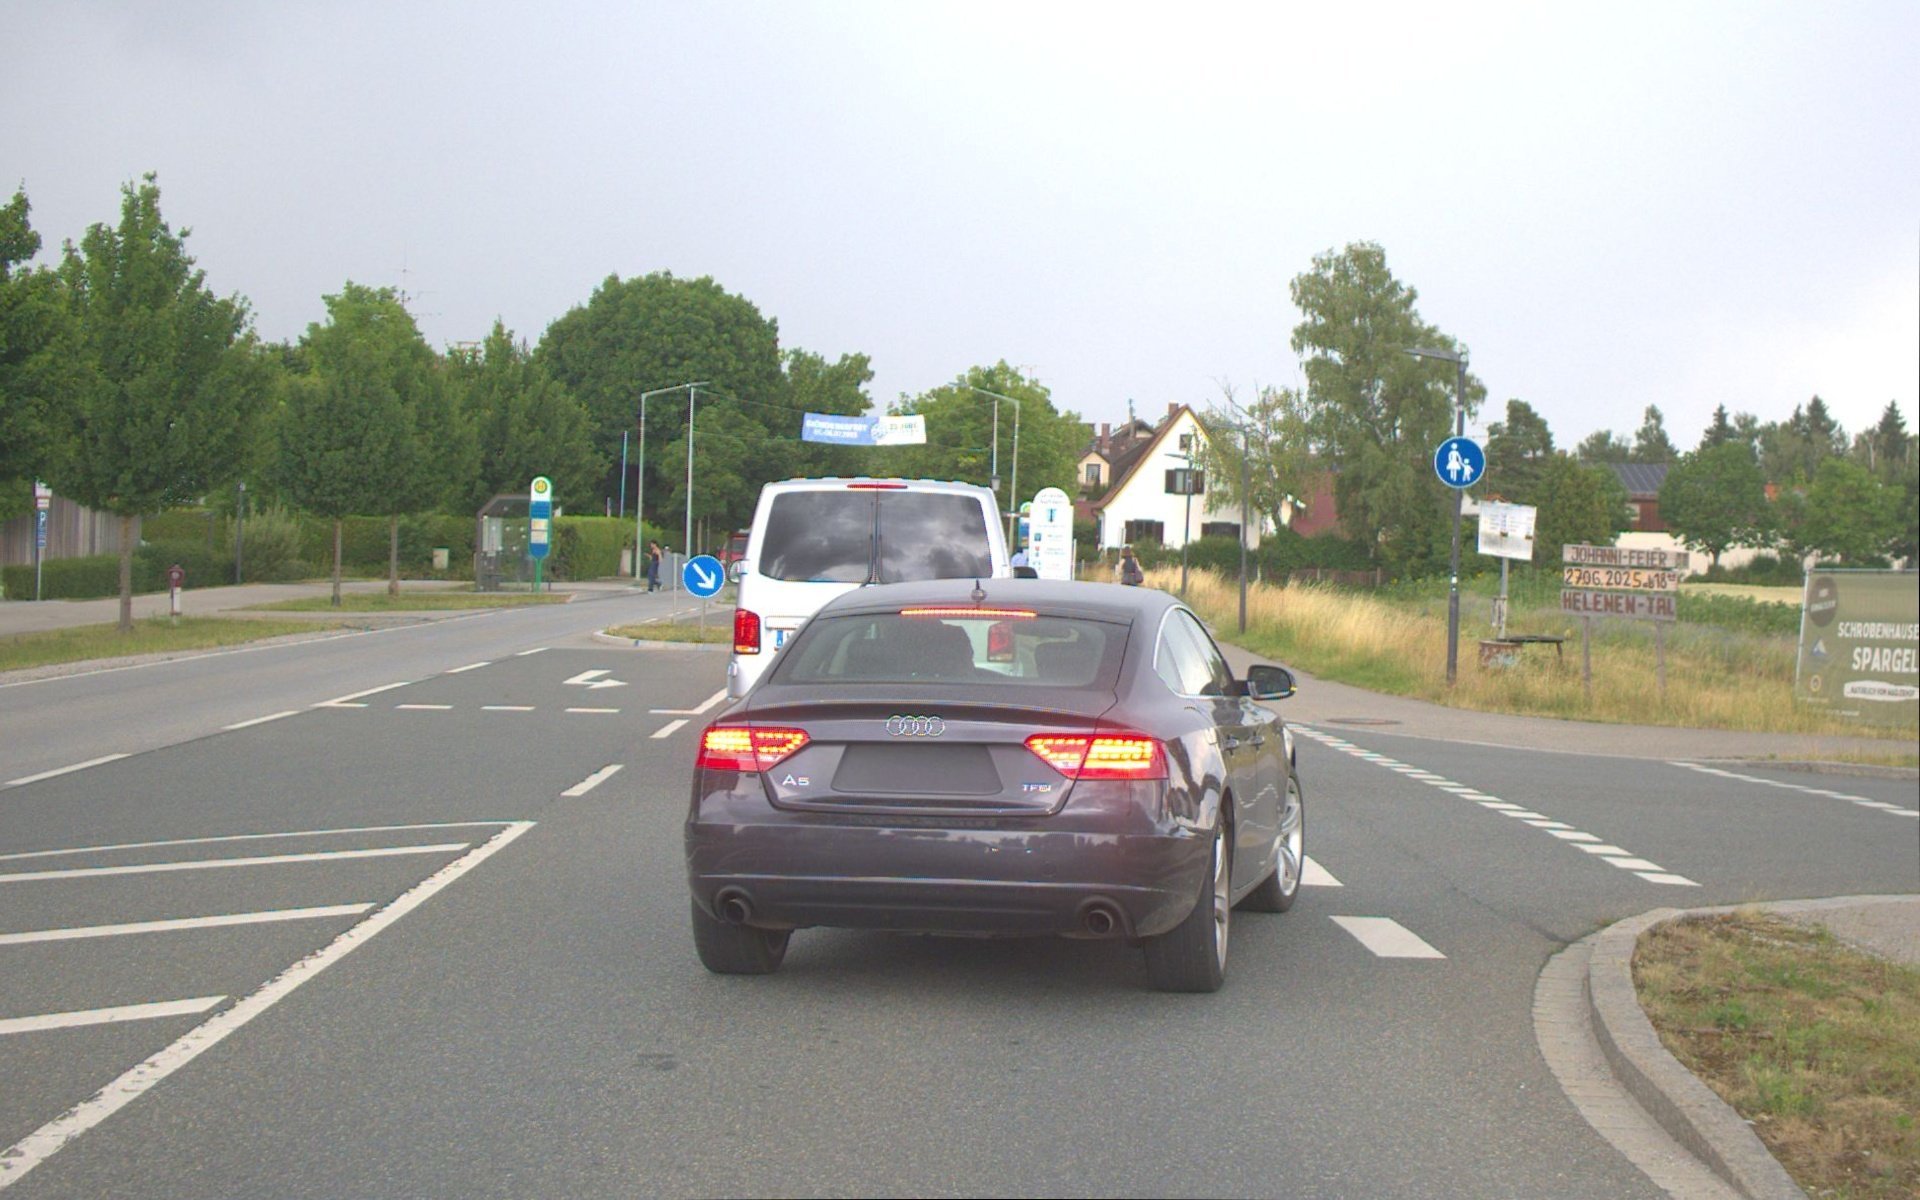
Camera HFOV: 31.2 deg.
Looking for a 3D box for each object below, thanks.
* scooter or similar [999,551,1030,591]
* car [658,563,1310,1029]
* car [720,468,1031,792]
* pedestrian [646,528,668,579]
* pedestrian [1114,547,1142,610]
[{"bbox_3d":[1.543,-0.819,96.792,0.848,1.100,1.094,0,1,0],"label":"scooter or similar"},{"bbox_3d":[0.283,0.586,13.004,1.826,1.384,4.386,0,1,9],"label":"car"},{"bbox_3d":[-0.591,0.138,23.127,1.825,1.907,4.001,3,1,-2],"label":"car"},{"bbox_3d":[-9.246,-1.422,104.931,0.623,1.519,0.680,0,1,-1],"label":"pedestrian"},{"bbox_3d":[4.061,-0.522,83.142,0.623,1.519,0.680,0,1,-1],"label":"pedestrian"}]
